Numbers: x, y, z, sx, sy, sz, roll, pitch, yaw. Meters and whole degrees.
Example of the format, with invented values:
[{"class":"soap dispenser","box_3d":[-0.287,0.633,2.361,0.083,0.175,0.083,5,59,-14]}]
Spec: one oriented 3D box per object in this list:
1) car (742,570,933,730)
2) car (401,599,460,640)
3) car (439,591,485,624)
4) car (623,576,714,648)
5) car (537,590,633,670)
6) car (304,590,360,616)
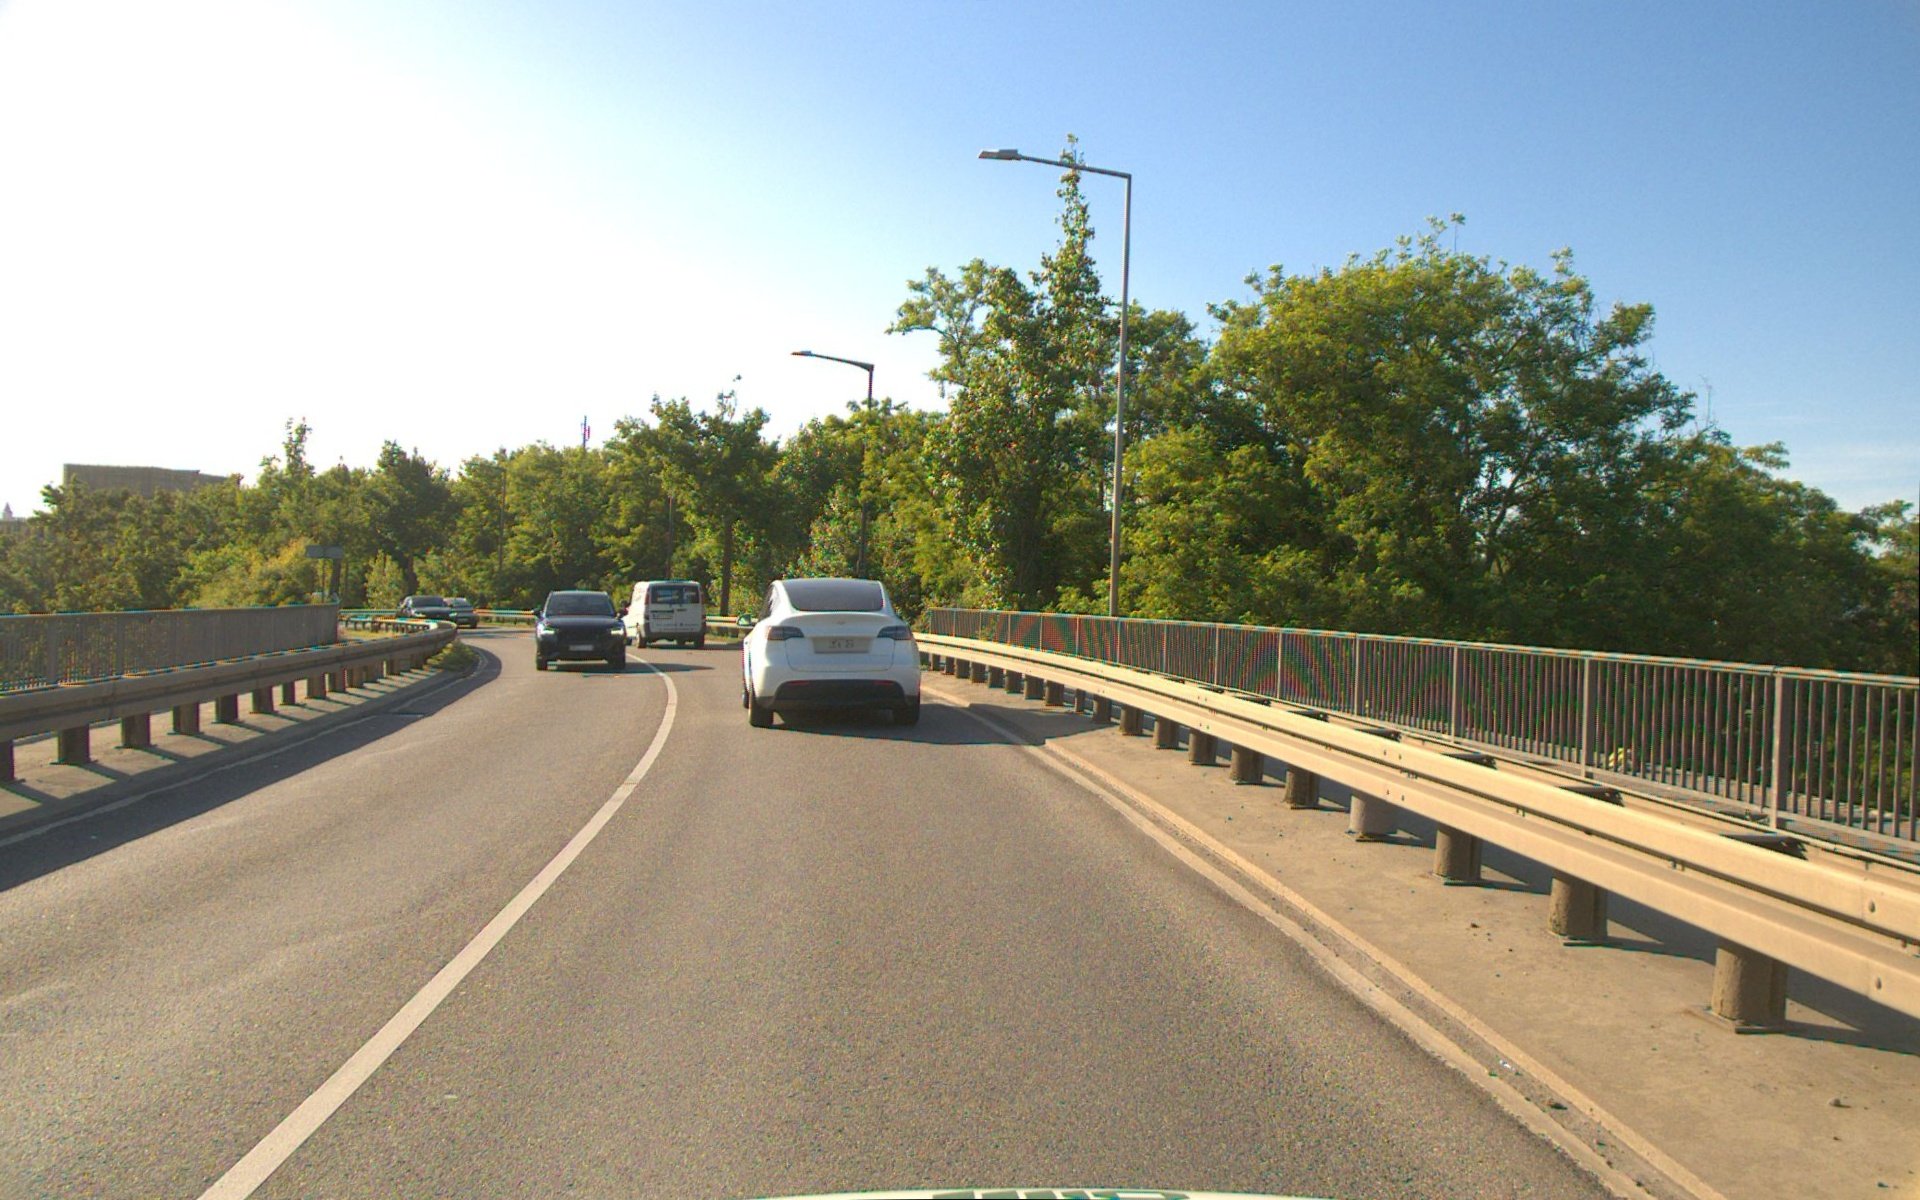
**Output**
[{"class":"car","box_3d":[-1.544,0.513,19.407,1.948,1.666,4.055,0,0,-8]},{"class":"car","box_3d":[-23.191,0.830,72.338,1.875,1.671,4.426,-1,0,-26]},{"class":"car","box_3d":[-24.978,0.347,82.895,1.833,1.612,3.888,-1,0,-22]},{"class":"car","box_3d":[-8.517,0.310,48.036,1.974,1.974,4.444,-1,0,-18]},{"class":"car","box_3d":[-7.971,0.583,34.955,1.794,1.579,4.167,-1,0,-15]},{"class":"car","box_3d":[-38.271,0.174,100.780,1.828,1.583,3.830,-1,1,-44]}]
